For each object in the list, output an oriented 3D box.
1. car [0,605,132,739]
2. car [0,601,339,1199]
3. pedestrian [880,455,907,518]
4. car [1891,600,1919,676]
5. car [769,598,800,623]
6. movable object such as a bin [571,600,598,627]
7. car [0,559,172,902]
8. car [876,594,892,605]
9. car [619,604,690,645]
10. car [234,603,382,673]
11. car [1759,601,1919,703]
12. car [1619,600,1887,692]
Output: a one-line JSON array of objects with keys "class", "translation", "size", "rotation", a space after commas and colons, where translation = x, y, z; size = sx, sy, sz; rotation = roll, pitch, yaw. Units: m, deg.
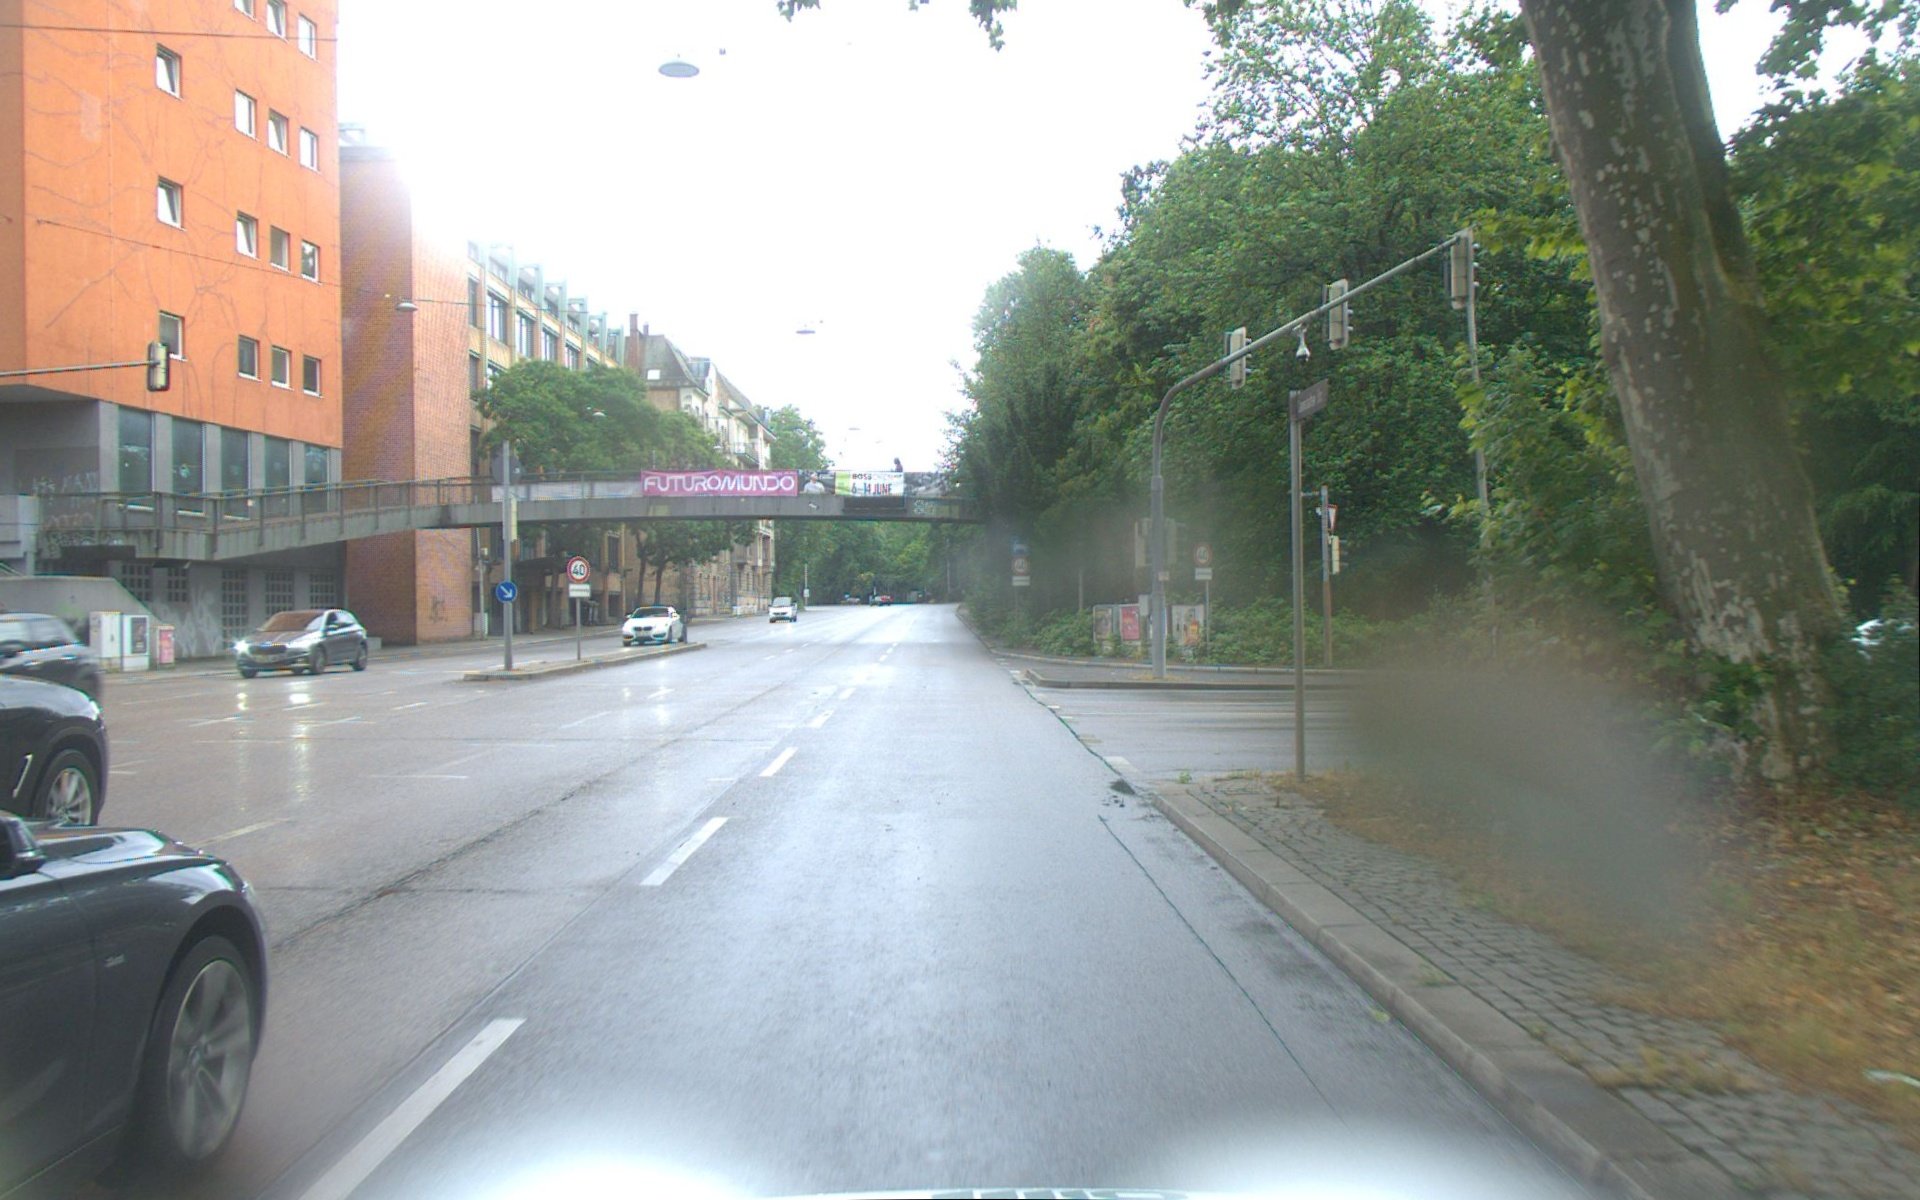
[{"class": "car", "translation": [-11.326, 0.806, 19.045], "size": [1.648, 1.461, 3.862], "rotation": [-1, 0, -1]}, {"class": "car", "translation": [-2.683, 0.751, 2.623], "size": [1.740, 1.483, 4.477], "rotation": [-1, 0, -1]}, {"class": "pedestrian", "translation": [-2.643, -4.487, 65.727], "size": [0.936, 2.386, 1.005], "rotation": [2, -1, -7]}, {"class": "car", "translation": [20.166, 0.797, 31.450], "size": [4.363, 1.427, 1.820], "rotation": [2, -1, -18]}, {"class": "car", "translation": [-11.137, 0.675, 105.254], "size": [1.568, 1.525, 3.711], "rotation": [-2, 0, 0]}, {"class": "movable object such as a bin", "translation": [-21.681, 0.794, 95.421], "size": [1.256, 1.545, 1.273], "rotation": [0, 0, 0]}, {"class": "car", "translation": [-5.582, 0.605, 7.539], "size": [1.772, 1.685, 4.444], "rotation": [2, 0, 0]}, {"class": "car", "translation": [-10.846, -0.062, 235.641], "size": [1.966, 1.672, 4.369], "rotation": [0, 0, -7]}, {"class": "car", "translation": [-11.274, 0.885, 61.289], "size": [1.793, 1.418, 4.404], "rotation": [-2, 0, -1]}, {"class": "car", "translation": [-14.701, 0.822, 37.533], "size": [1.673, 1.490, 4.042], "rotation": [-1, 0, 1]}, {"class": "car", "translation": [14.864, 0.834, 25.935], "size": [4.121, 1.486, 1.784], "rotation": [2, -1, -18]}, {"class": "car", "translation": [14.186, 0.820, 29.643], "size": [4.133, 1.466, 1.940], "rotation": [2, -1, -18]}]
